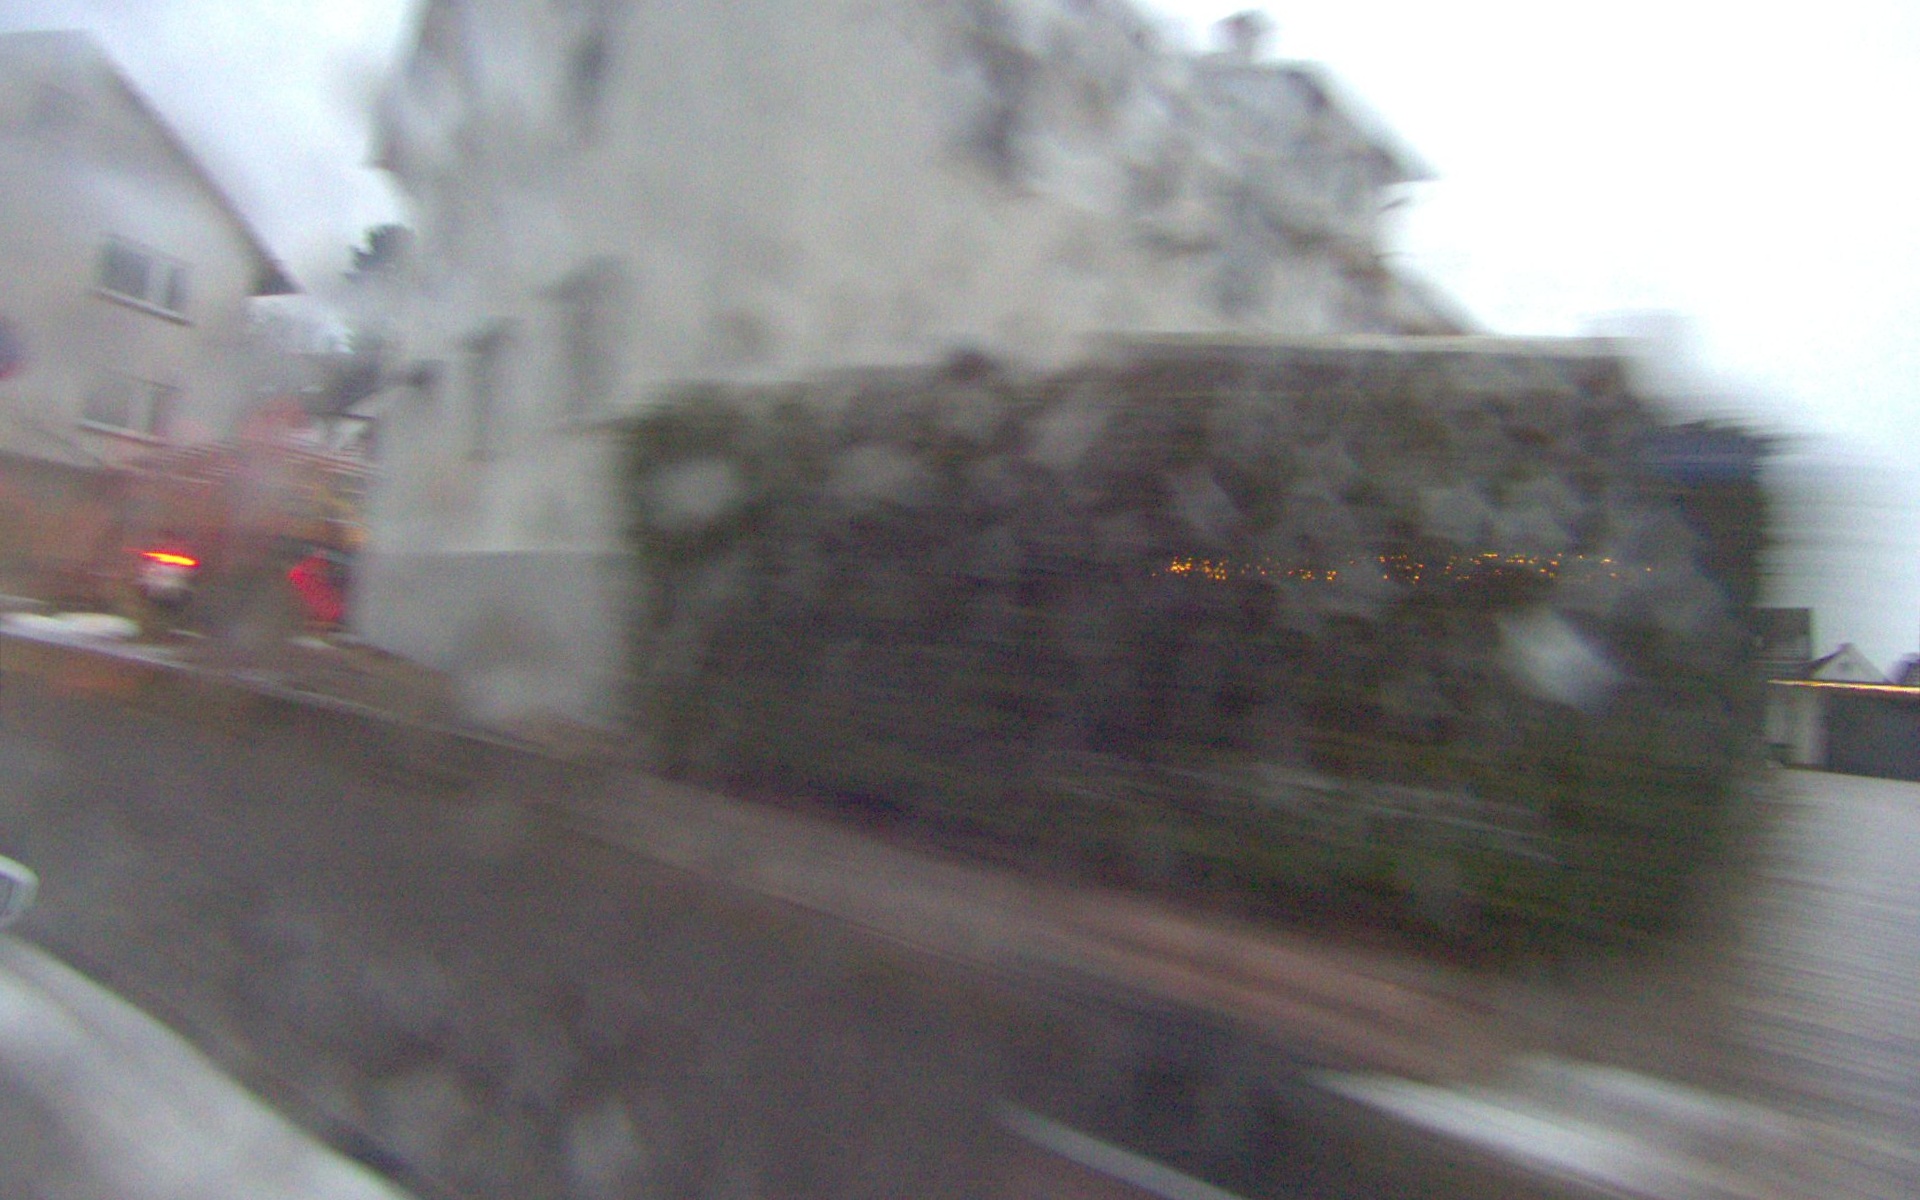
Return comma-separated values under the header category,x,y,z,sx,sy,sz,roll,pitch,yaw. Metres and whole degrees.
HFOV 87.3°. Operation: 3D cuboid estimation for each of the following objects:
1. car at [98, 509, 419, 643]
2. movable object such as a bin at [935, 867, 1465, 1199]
category,x,y,z,sx,sy,sz,roll,pitch,yaw
car,-12.033,-0.340,17.536,1.966,1.636,3.998,7,-2,29
movable object such as a bin,0.384,1.031,1.687,0.678,0.949,0.538,7,-2,33
